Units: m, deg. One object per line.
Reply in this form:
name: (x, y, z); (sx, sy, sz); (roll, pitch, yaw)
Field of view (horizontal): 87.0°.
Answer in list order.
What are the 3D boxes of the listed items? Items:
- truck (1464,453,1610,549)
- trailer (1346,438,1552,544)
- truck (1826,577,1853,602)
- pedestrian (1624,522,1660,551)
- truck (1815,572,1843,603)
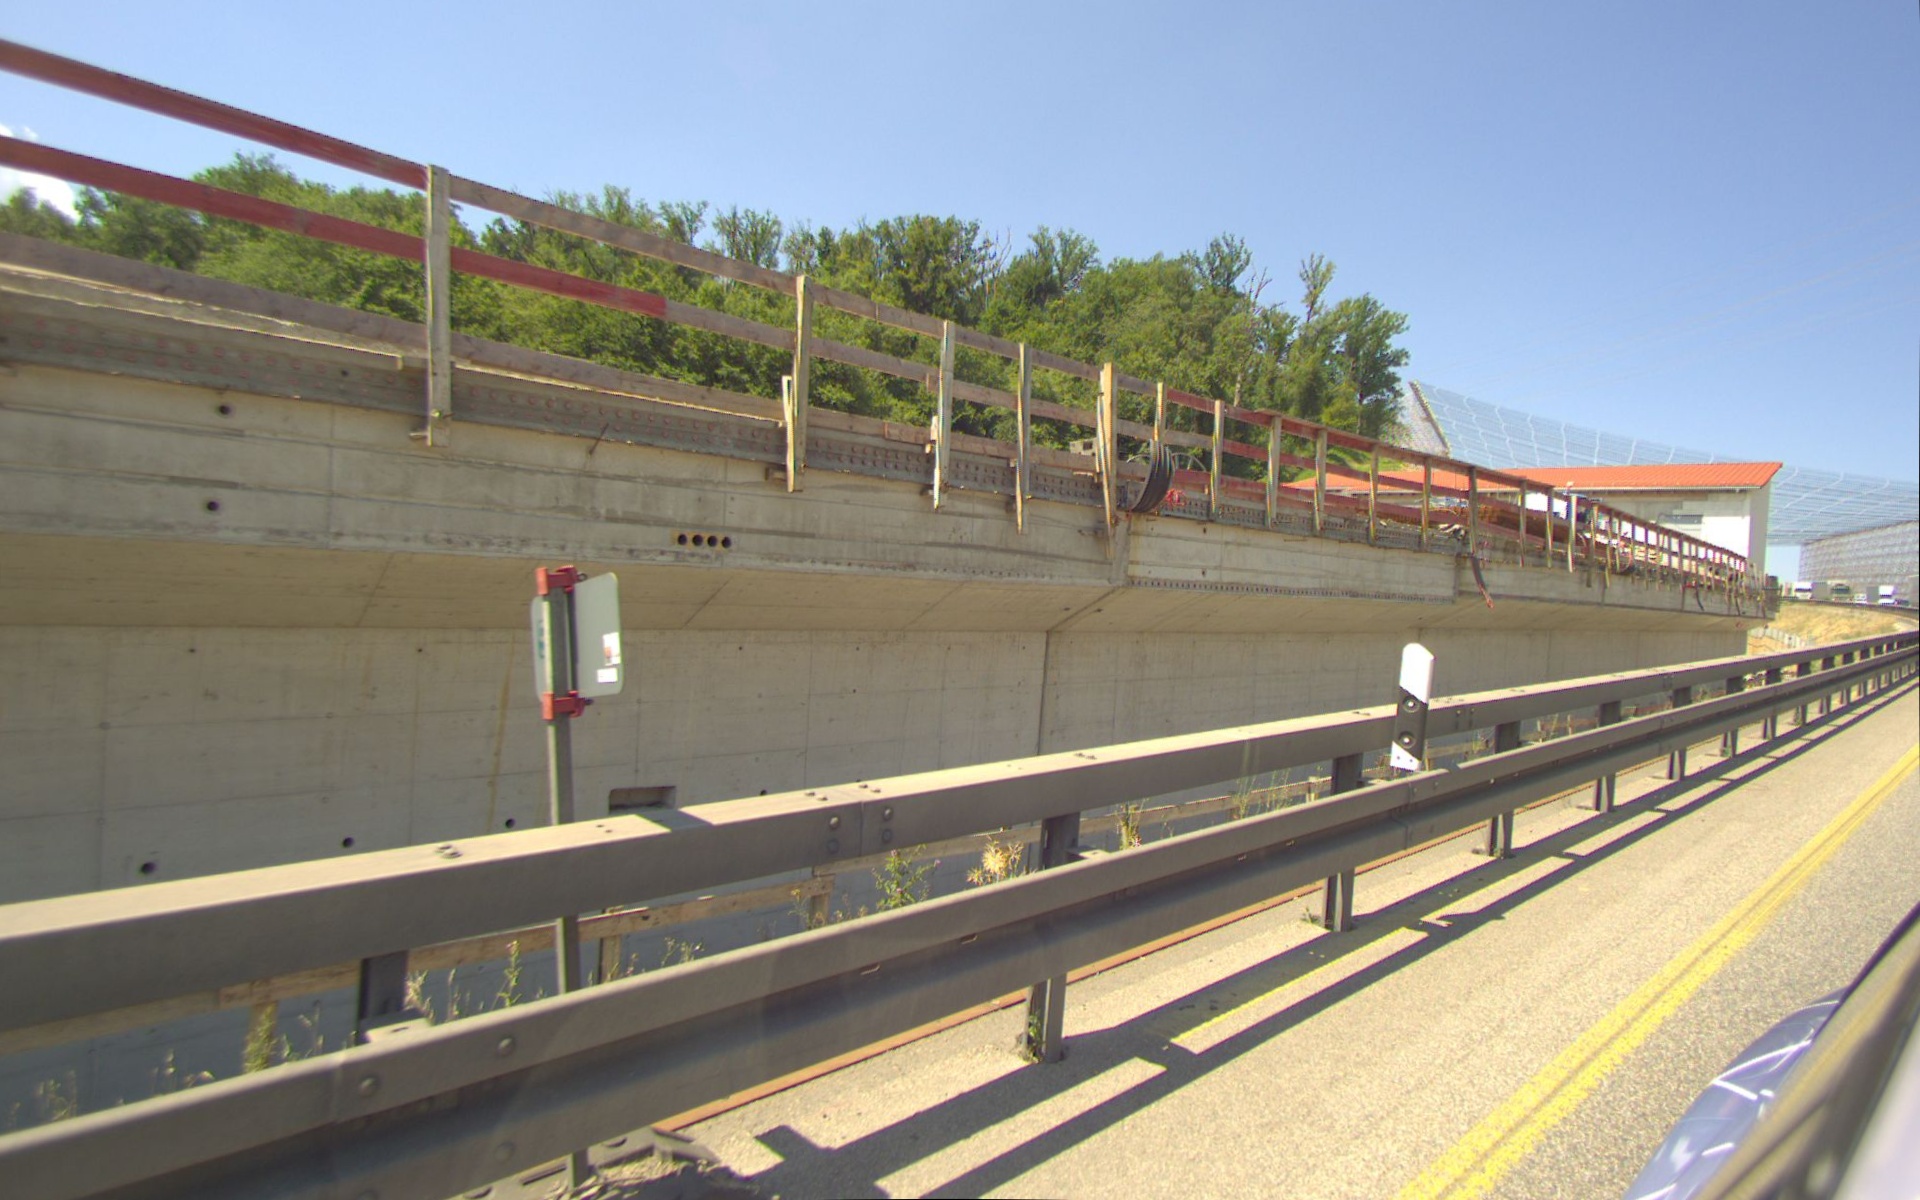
truck: (26.490, -4.446, 46.499); (5.590, 3.741, 2.725); (3, 0, -21)
trailer: (21.589, -4.658, 44.631); (8.806, 3.741, 2.725); (3, 0, -21)
truck: (151.320, -1.813, 174.197); (3.028, 4.107, 8.556); (0, 1, 38)
pedestrian: (28.949, -2.696, 42.945); (0.976, 1.165, 1.022); (-1, 1, -38)
truck: (142.278, -2.104, 165.755); (3.028, 4.865, 8.818); (0, 1, 38)
